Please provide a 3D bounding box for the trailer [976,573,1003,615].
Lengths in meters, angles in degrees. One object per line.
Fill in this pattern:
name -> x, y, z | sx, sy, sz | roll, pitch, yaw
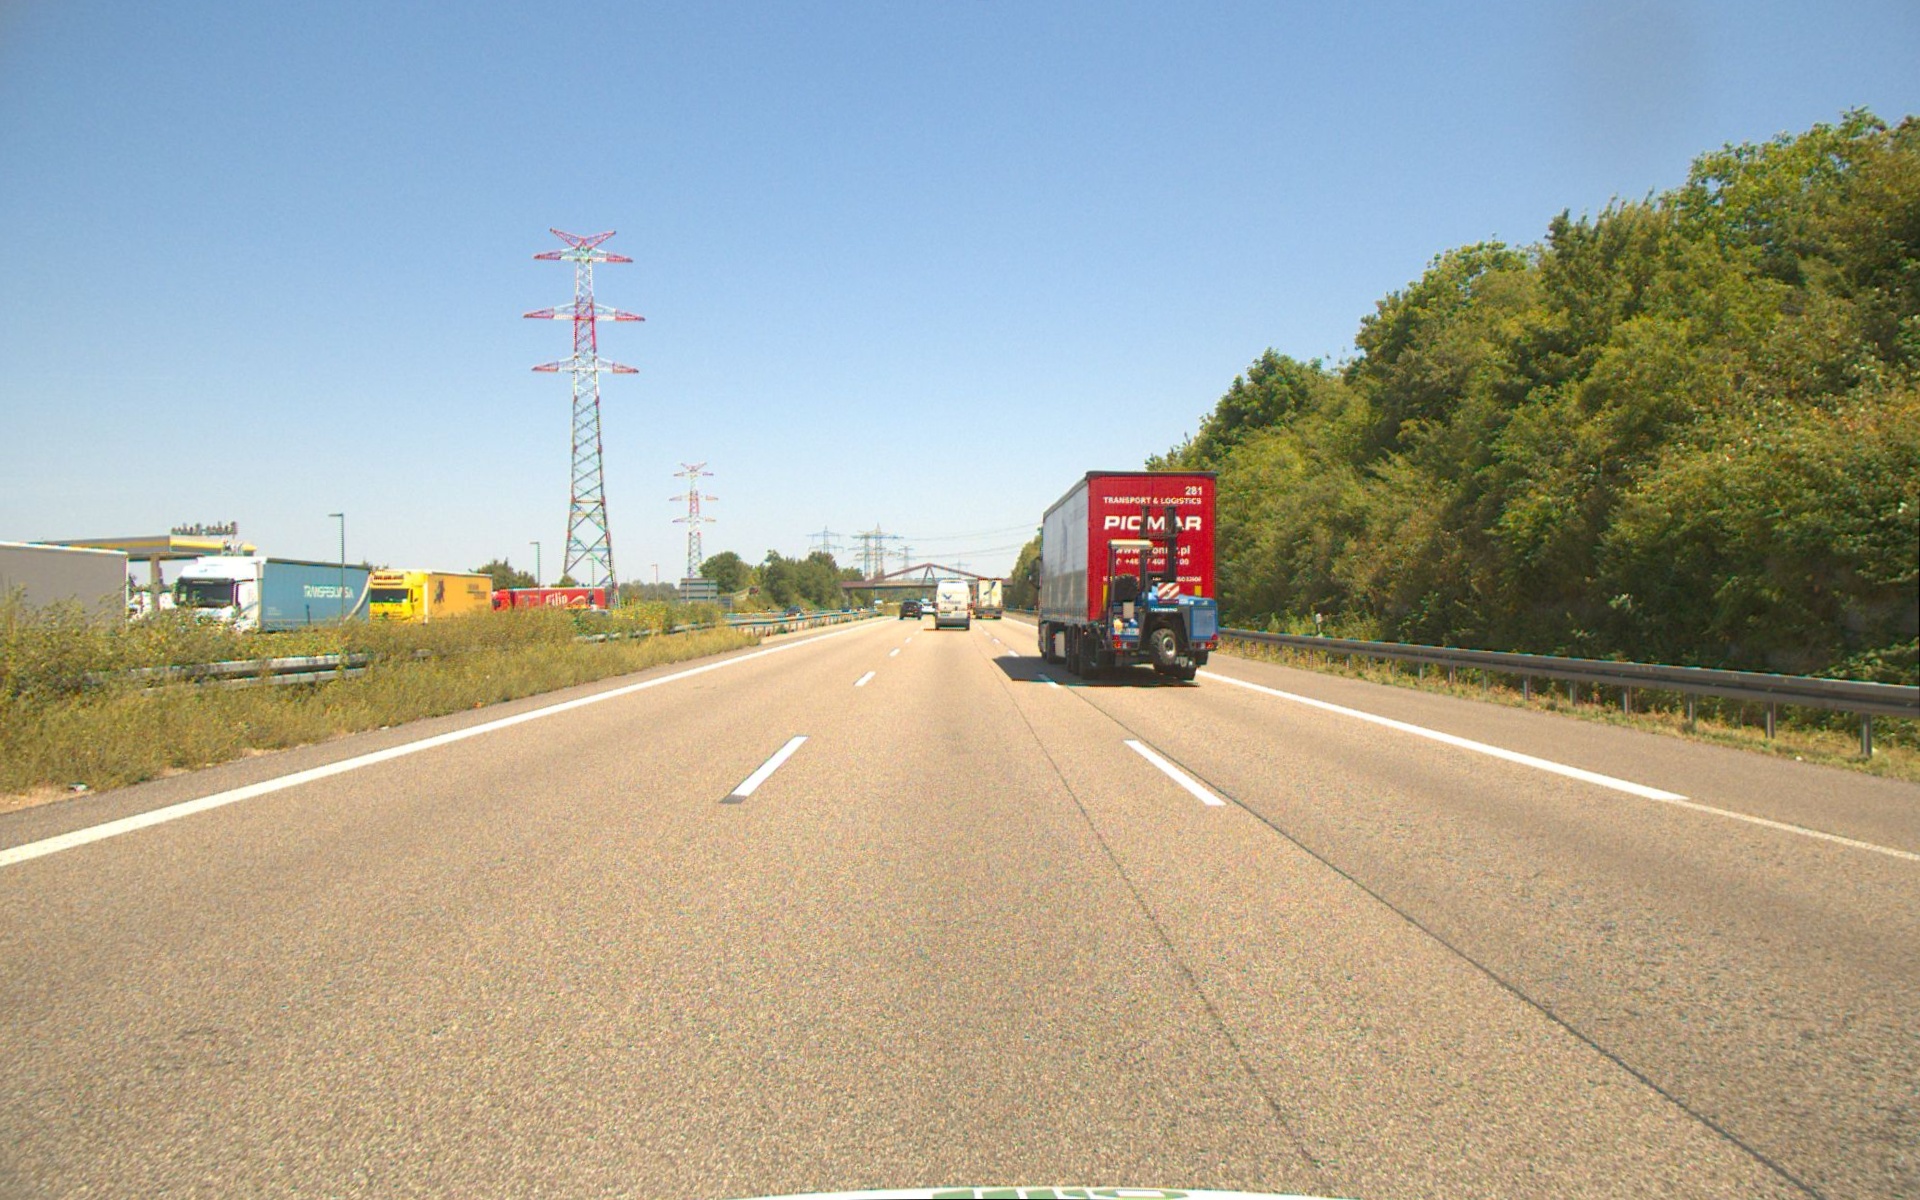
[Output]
trailer -> 3.030, -0.586, 171.366 | 2.583, 4.131, 12.366 | 1, 0, 1

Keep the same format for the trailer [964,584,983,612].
trailer -> 1.881, -0.272, 236.142 | 2.583, 3.965, 7.068 | 1, 0, 1

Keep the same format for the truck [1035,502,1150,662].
truck -> 3.475, -0.438, 44.908 | 2.448, 3.988, 7.095 | 0, 0, -1

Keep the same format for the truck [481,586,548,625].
truck -> -48.805, 0.613, 181.235 | 3.063, 4.120, 6.625 | 1, 0, 34

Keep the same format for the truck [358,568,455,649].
truck -> -30.681, 0.474, 91.983 | 2.776, 4.274, 7.916 | 1, 0, -1

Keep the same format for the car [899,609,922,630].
car -> -4.599, 1.813, 153.858 | 1.941, 1.849, 3.813 | 1, 0, 2

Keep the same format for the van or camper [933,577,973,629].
van or camper -> -0.380, 0.178, 95.495 | 2.185, 2.831, 5.422 | 1, 0, 0

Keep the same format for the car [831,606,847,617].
car -> -17.715, 1.679, 242.337 | 1.932, 1.675, 5.015 | 1, 0, -1

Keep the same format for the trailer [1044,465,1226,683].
trailer -> 3.574, -0.452, 37.484 | 2.439, 3.978, 14.243 | 0, 0, -1

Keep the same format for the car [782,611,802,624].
car -> -18.209, 1.903, 179.509 | 1.706, 1.298, 4.317 | -3, 0, 0

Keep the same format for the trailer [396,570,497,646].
trailer -> -30.867, 0.485, 99.915 | 2.776, 4.293, 11.079 | 1, 0, -1

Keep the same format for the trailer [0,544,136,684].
trailer -> -30.573, 0.403, 53.009 | 3.050, 4.231, 11.011 | 1, 0, -2

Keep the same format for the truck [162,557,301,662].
truck -> -30.685, 0.407, 69.984 | 2.792, 4.144, 7.087 | 1, 0, -2

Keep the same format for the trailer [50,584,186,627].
trailer -> -74.766, 0.556, 147.173 | 2.936, 3.582, 11.045 | 1, 0, 29

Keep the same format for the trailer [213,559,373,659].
trailer -> -30.893, 0.407, 77.386 | 2.776, 4.221, 12.080 | 1, 0, -1

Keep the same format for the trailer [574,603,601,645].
trailer -> -21.616, 1.369, 95.971 | 1.144, 2.410, 1.998 | 0, 0, -1

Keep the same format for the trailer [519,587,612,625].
trailer -> -44.708, 0.736, 187.828 | 3.066, 4.126, 11.279 | 1, 0, 33
